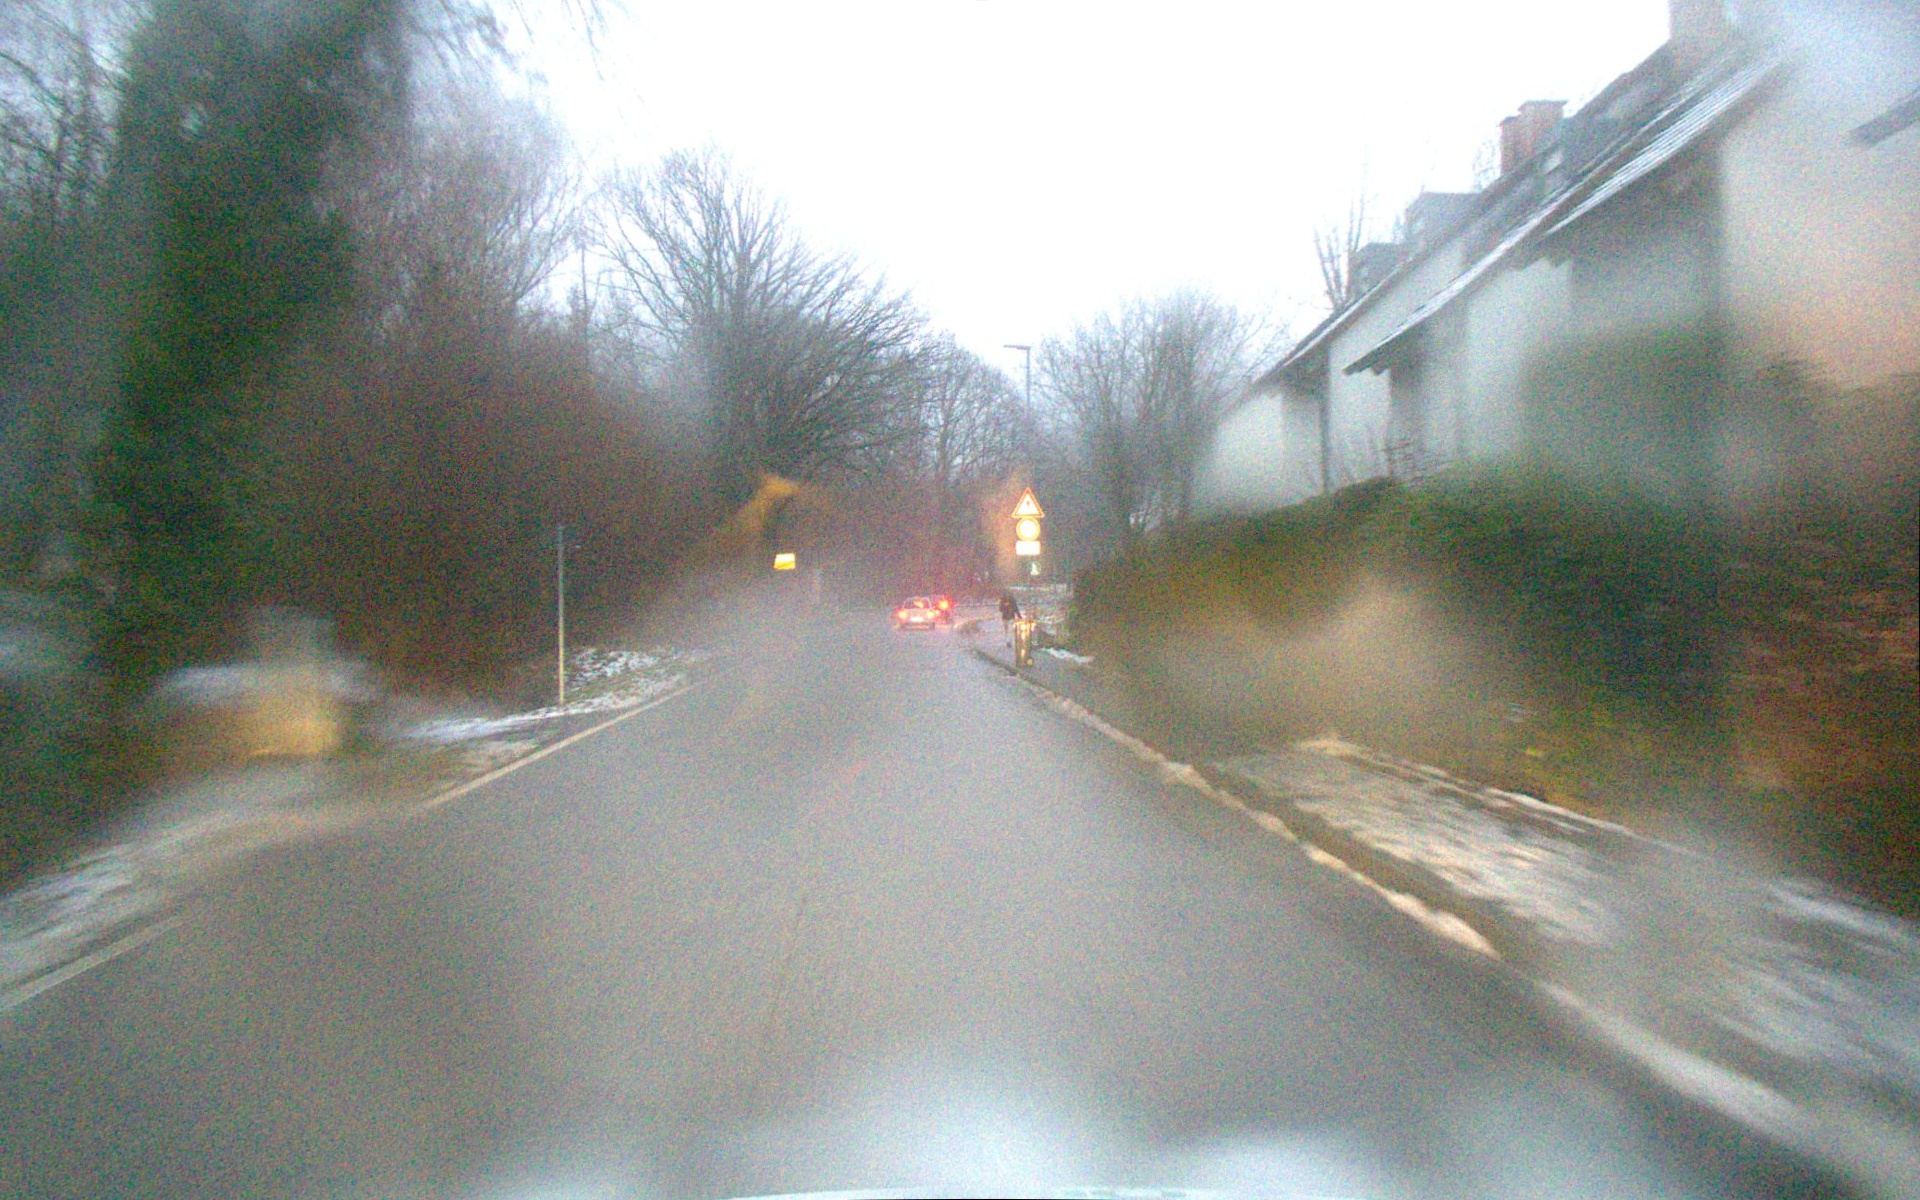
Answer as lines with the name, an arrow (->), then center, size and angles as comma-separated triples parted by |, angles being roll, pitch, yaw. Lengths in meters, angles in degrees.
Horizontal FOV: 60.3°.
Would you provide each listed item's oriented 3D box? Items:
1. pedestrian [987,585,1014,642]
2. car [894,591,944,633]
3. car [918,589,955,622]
pedestrian -> 1.203, 0.410, 49.694 | 0.728, 1.684, 0.970 | -1, 0, -3
car -> -1.849, 0.520, 75.399 | 1.892, 1.812, 4.002 | -1, 0, 4
car -> -1.250, 0.289, 88.816 | 1.893, 1.705, 4.000 | -1, 0, -1
